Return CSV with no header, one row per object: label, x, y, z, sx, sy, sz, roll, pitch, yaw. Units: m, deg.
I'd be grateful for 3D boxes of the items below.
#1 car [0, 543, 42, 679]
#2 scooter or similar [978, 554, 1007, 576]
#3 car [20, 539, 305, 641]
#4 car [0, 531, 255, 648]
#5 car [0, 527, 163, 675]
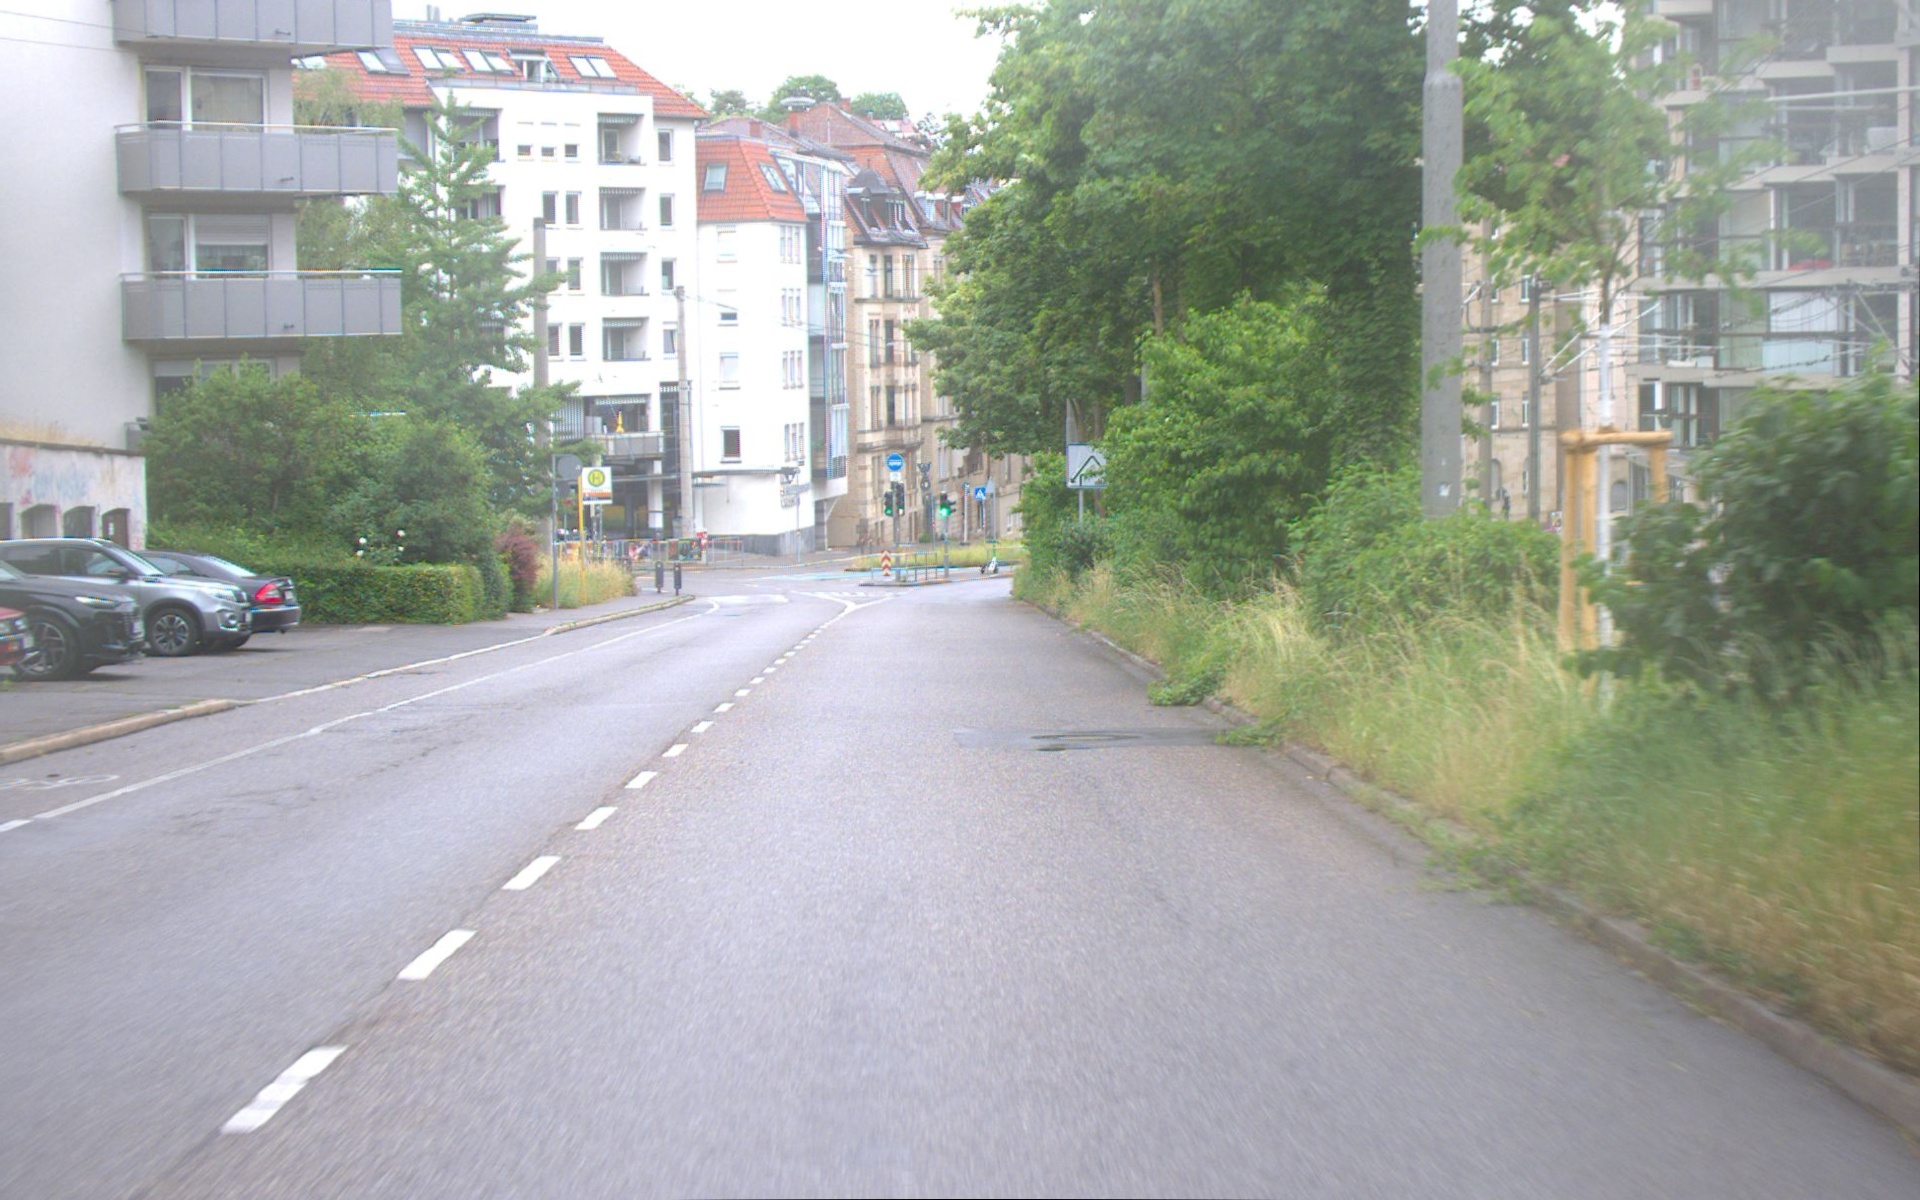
car,-11.579,0.101,35.901,3.630,1.400,1.717,0,0,-7
scooter or similar,1.151,-1.246,122.407,0.485,0.759,1.328,0,1,27
car,-11.325,-0.145,48.963,3.631,1.402,1.783,0,0,1
car,-11.710,-0.143,46.695,3.986,1.554,1.880,0,0,-5
car,-11.406,-0.010,38.744,4.449,1.597,1.814,0,2,-1
